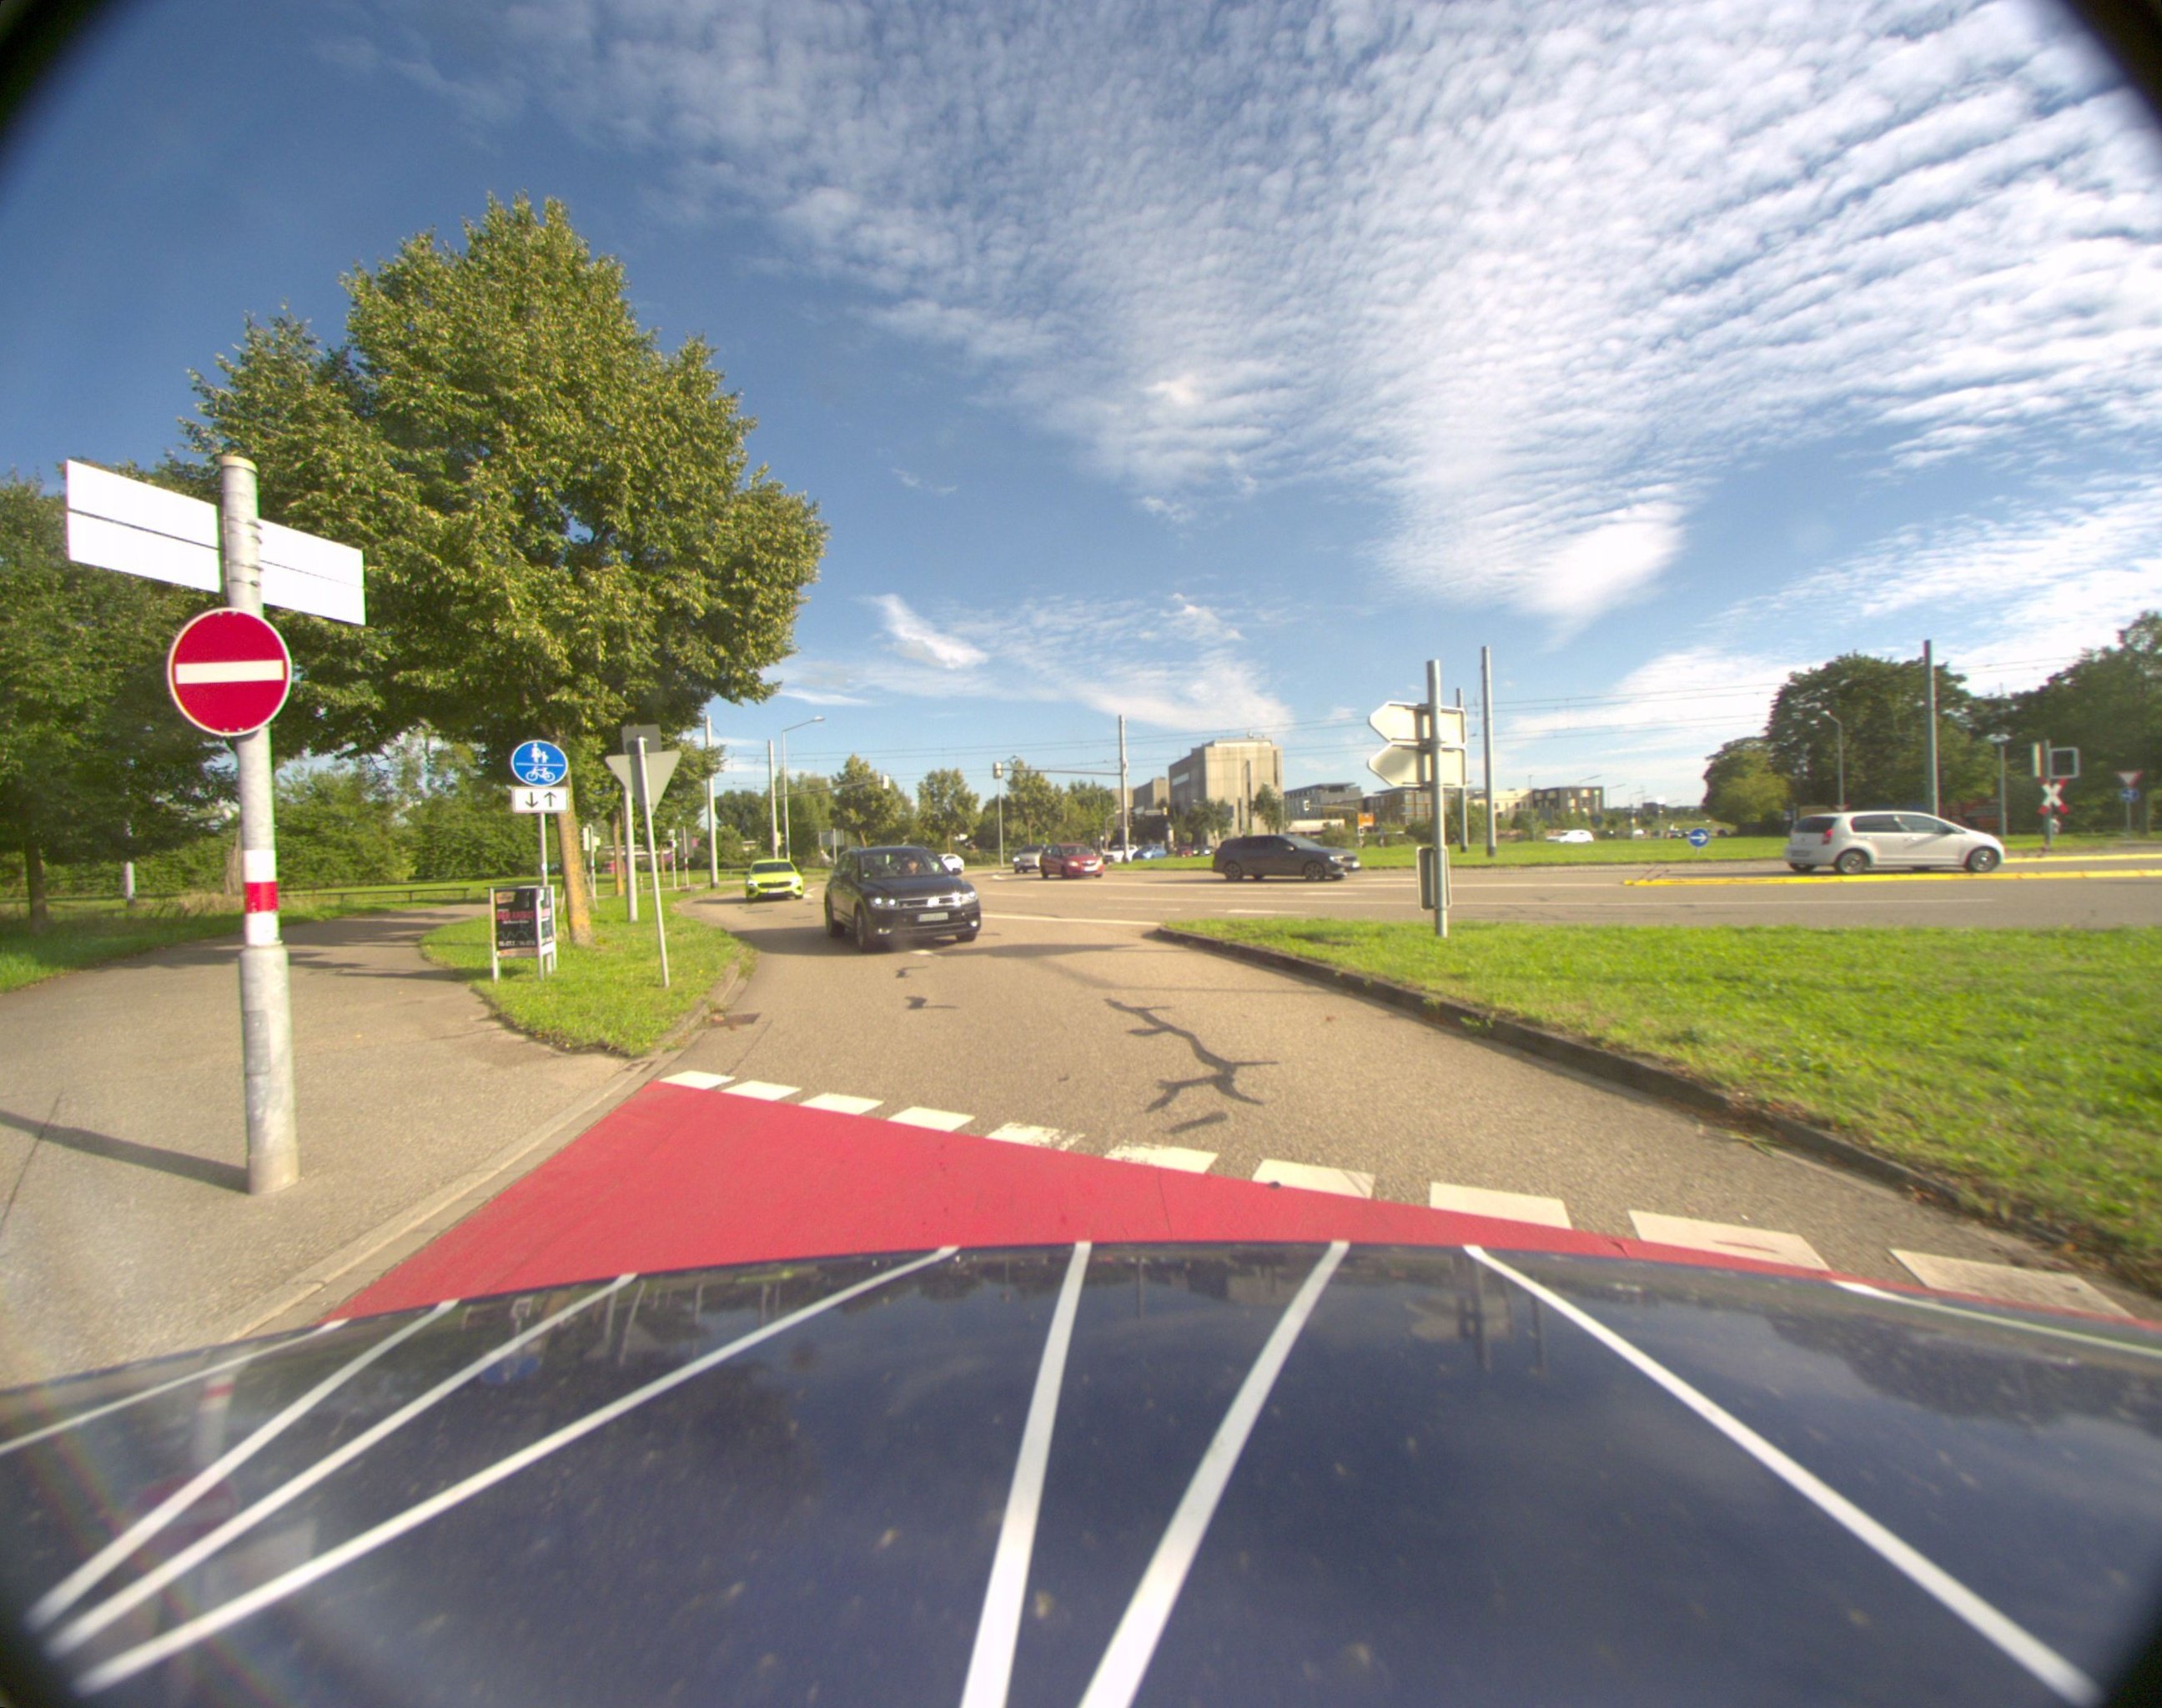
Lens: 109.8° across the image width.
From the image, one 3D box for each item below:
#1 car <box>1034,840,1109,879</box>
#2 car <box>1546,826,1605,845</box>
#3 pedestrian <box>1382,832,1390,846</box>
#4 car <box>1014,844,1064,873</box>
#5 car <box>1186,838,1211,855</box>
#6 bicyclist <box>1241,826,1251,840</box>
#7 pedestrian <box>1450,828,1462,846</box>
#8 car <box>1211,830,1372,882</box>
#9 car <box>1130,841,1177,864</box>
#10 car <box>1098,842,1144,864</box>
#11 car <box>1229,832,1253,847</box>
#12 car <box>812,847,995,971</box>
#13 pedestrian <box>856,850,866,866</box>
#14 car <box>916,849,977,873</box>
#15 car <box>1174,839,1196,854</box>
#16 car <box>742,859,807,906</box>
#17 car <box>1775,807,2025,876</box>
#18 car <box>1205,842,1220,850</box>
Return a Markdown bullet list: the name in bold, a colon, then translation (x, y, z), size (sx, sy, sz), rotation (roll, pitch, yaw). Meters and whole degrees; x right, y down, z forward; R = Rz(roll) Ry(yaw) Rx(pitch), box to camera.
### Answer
- **car**: translation (-0.486, 0.235, 32.312), size (1.696, 1.466, 4.219), rotation (-4, 1, -22)
- **car**: translation (45.567, -1.735, 70.012), size (4.424, 1.567, 1.892), rotation (-2, 1, -11)
- **pedestrian**: translation (37.241, -1.837, 92.822), size (0.628, 1.620, 0.657), rotation (-4, 1, -4)
- **car**: translation (-2.342, 0.214, 43.472), size (1.692, 1.466, 4.230), rotation (-1, 1, 13)
- **car**: translation (12.562, -0.803, 81.628), size (1.998, 1.652, 4.802), rotation (-2, 1, 1)
- **bicyclist**: translation (19.300, -2.435, 88.882), size (0.865, 1.547, 0.997), rotation (-2, 1, -1)
- **pedestrian**: translation (42.212, -1.939, 85.487), size (0.894, 1.905, 0.868), rotation (-3, 2, 39)
- **car**: translation (6.463, 0.097, 23.613), size (4.435, 1.412, 1.828), rotation (-2, 2, 44)
- **car**: translation (5.989, -0.181, 62.002), size (1.995, 1.652, 4.811), rotation (-2, 1, 30)
- **car**: translation (3.603, -0.113, 67.402), size (1.995, 1.652, 4.811), rotation (-2, 1, 30)
- **car**: translation (24.598, -2.186, 117.177), size (2.065, 2.250, 6.021), rotation (0, 0, -4)
- **car**: translation (-3.326, 0.775, 13.325), size (1.875, 1.685, 5.004), rotation (-3, 1, -27)
- **pedestrian**: translation (-23.630, 0.454, 81.599), size (0.596, 1.722, 0.668), rotation (-2, 2, 22)
- **car**: translation (-10.444, 0.486, 59.310), size (1.995, 1.652, 4.811), rotation (-2, 1, 29)
- **car**: translation (12.847, -0.958, 94.290), size (1.998, 1.652, 4.802), rotation (-2, 1, 1)
- **car**: translation (-10.904, 0.934, 27.174), size (1.898, 1.412, 4.600), rotation (-4, 1, -21)
- **car**: translation (19.014, -0.292, 17.829), size (3.654, 1.456, 1.768), rotation (-1, 2, 11)
- **car**: translation (23.267, -1.396, 134.472), size (1.685, 1.492, 3.992), rotation (0, 0, -6)
